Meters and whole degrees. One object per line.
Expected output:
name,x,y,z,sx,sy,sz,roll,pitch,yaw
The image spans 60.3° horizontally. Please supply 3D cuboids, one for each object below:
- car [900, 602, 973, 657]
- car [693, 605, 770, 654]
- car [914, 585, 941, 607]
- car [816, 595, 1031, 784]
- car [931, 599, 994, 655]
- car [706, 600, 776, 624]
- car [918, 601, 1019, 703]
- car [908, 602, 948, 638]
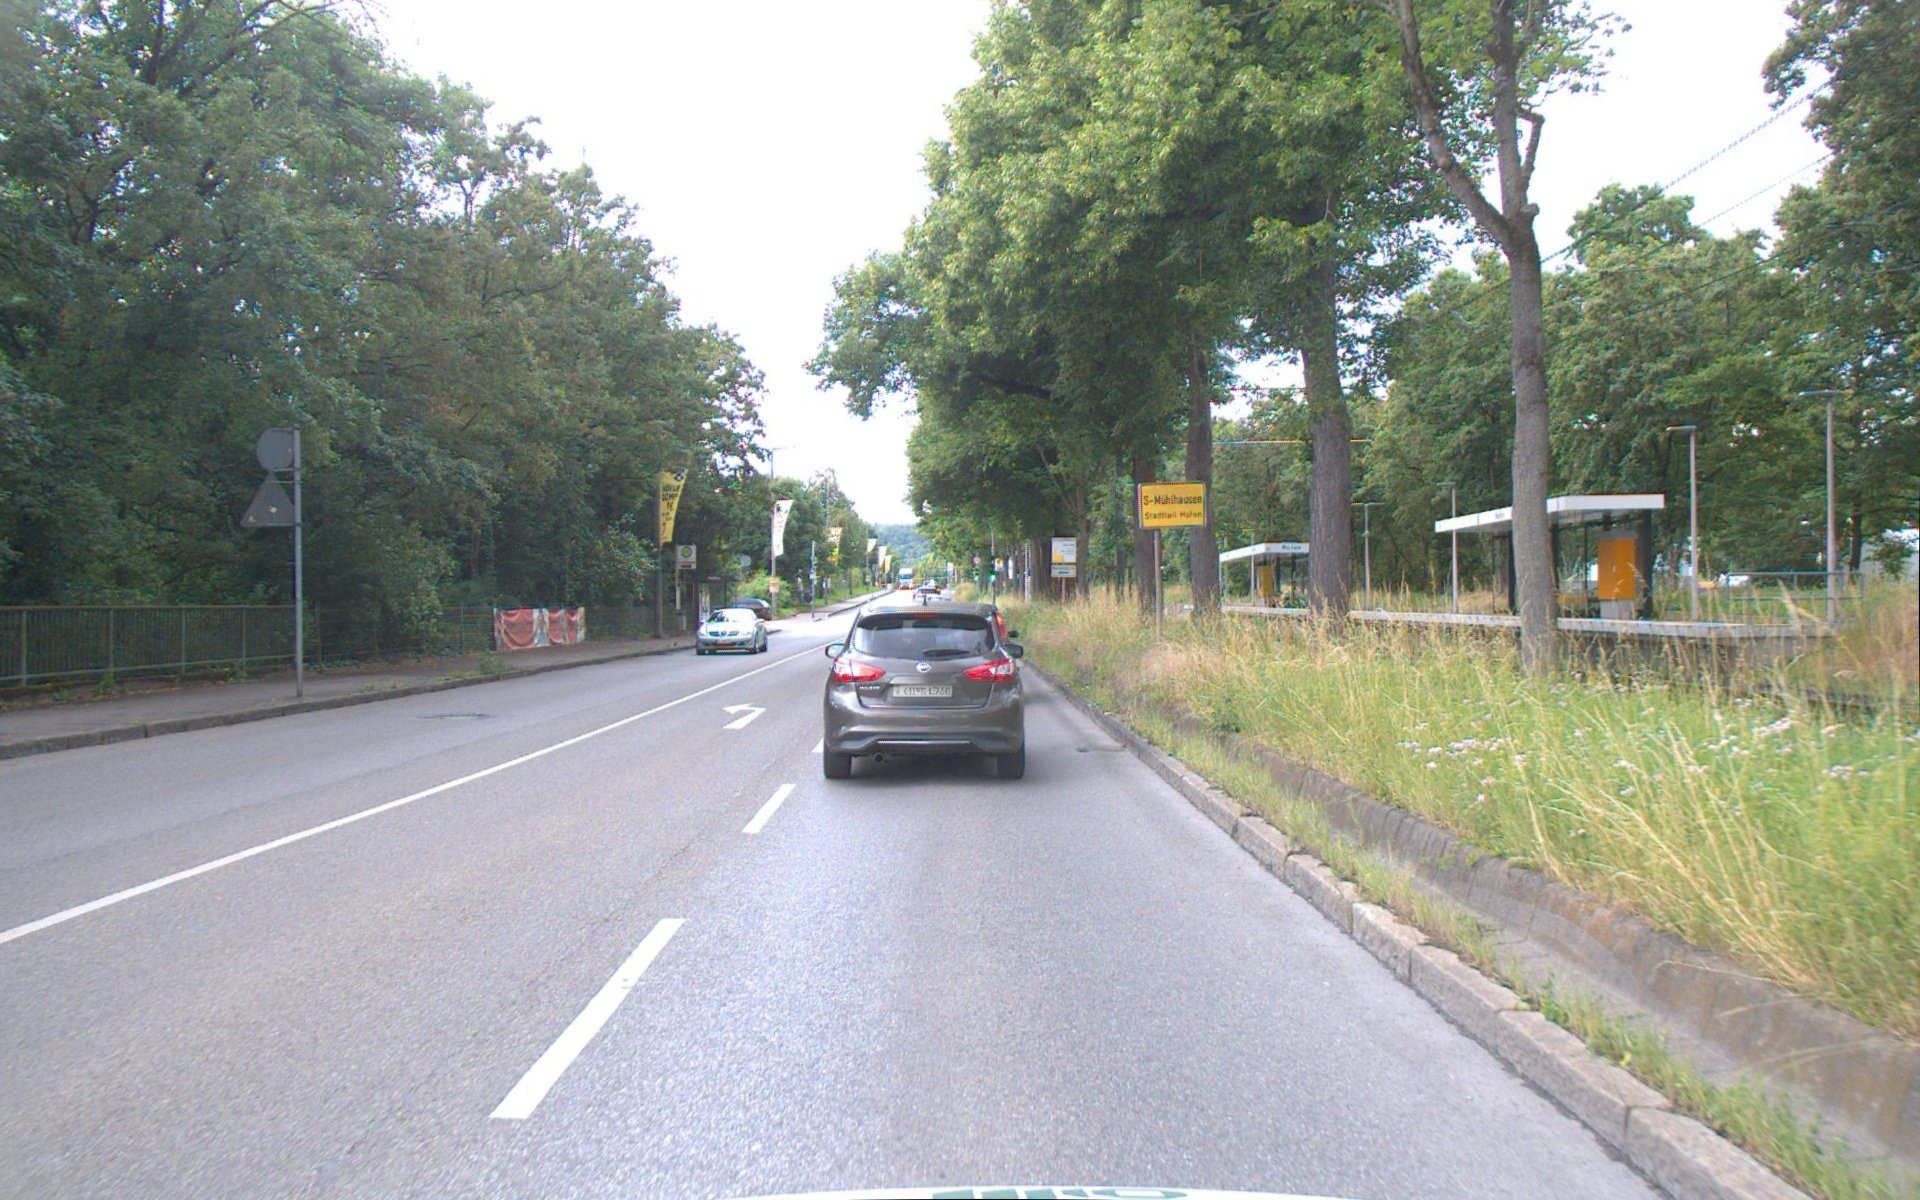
car,-0.679,0.824,47.108,1.953,1.437,3.999,2,-1,-1
car,-6.563,0.833,47.774,1.722,1.360,3.695,0,0,0
car,-2.484,-0.268,126.018,1.953,1.601,3.999,2,-1,-1
car,-0.305,0.733,15.334,1.747,1.533,3.695,0,0,0
car,0.041,0.723,45.834,1.657,1.466,3.541,0,0,-1
car,-12.728,0.687,96.248,3.606,1.360,1.765,0,0,18
car,0.096,0.754,25.741,1.471,1.466,3.541,0,0,-1
car,-1.363,0.837,70.680,1.657,1.466,3.541,0,0,-1
